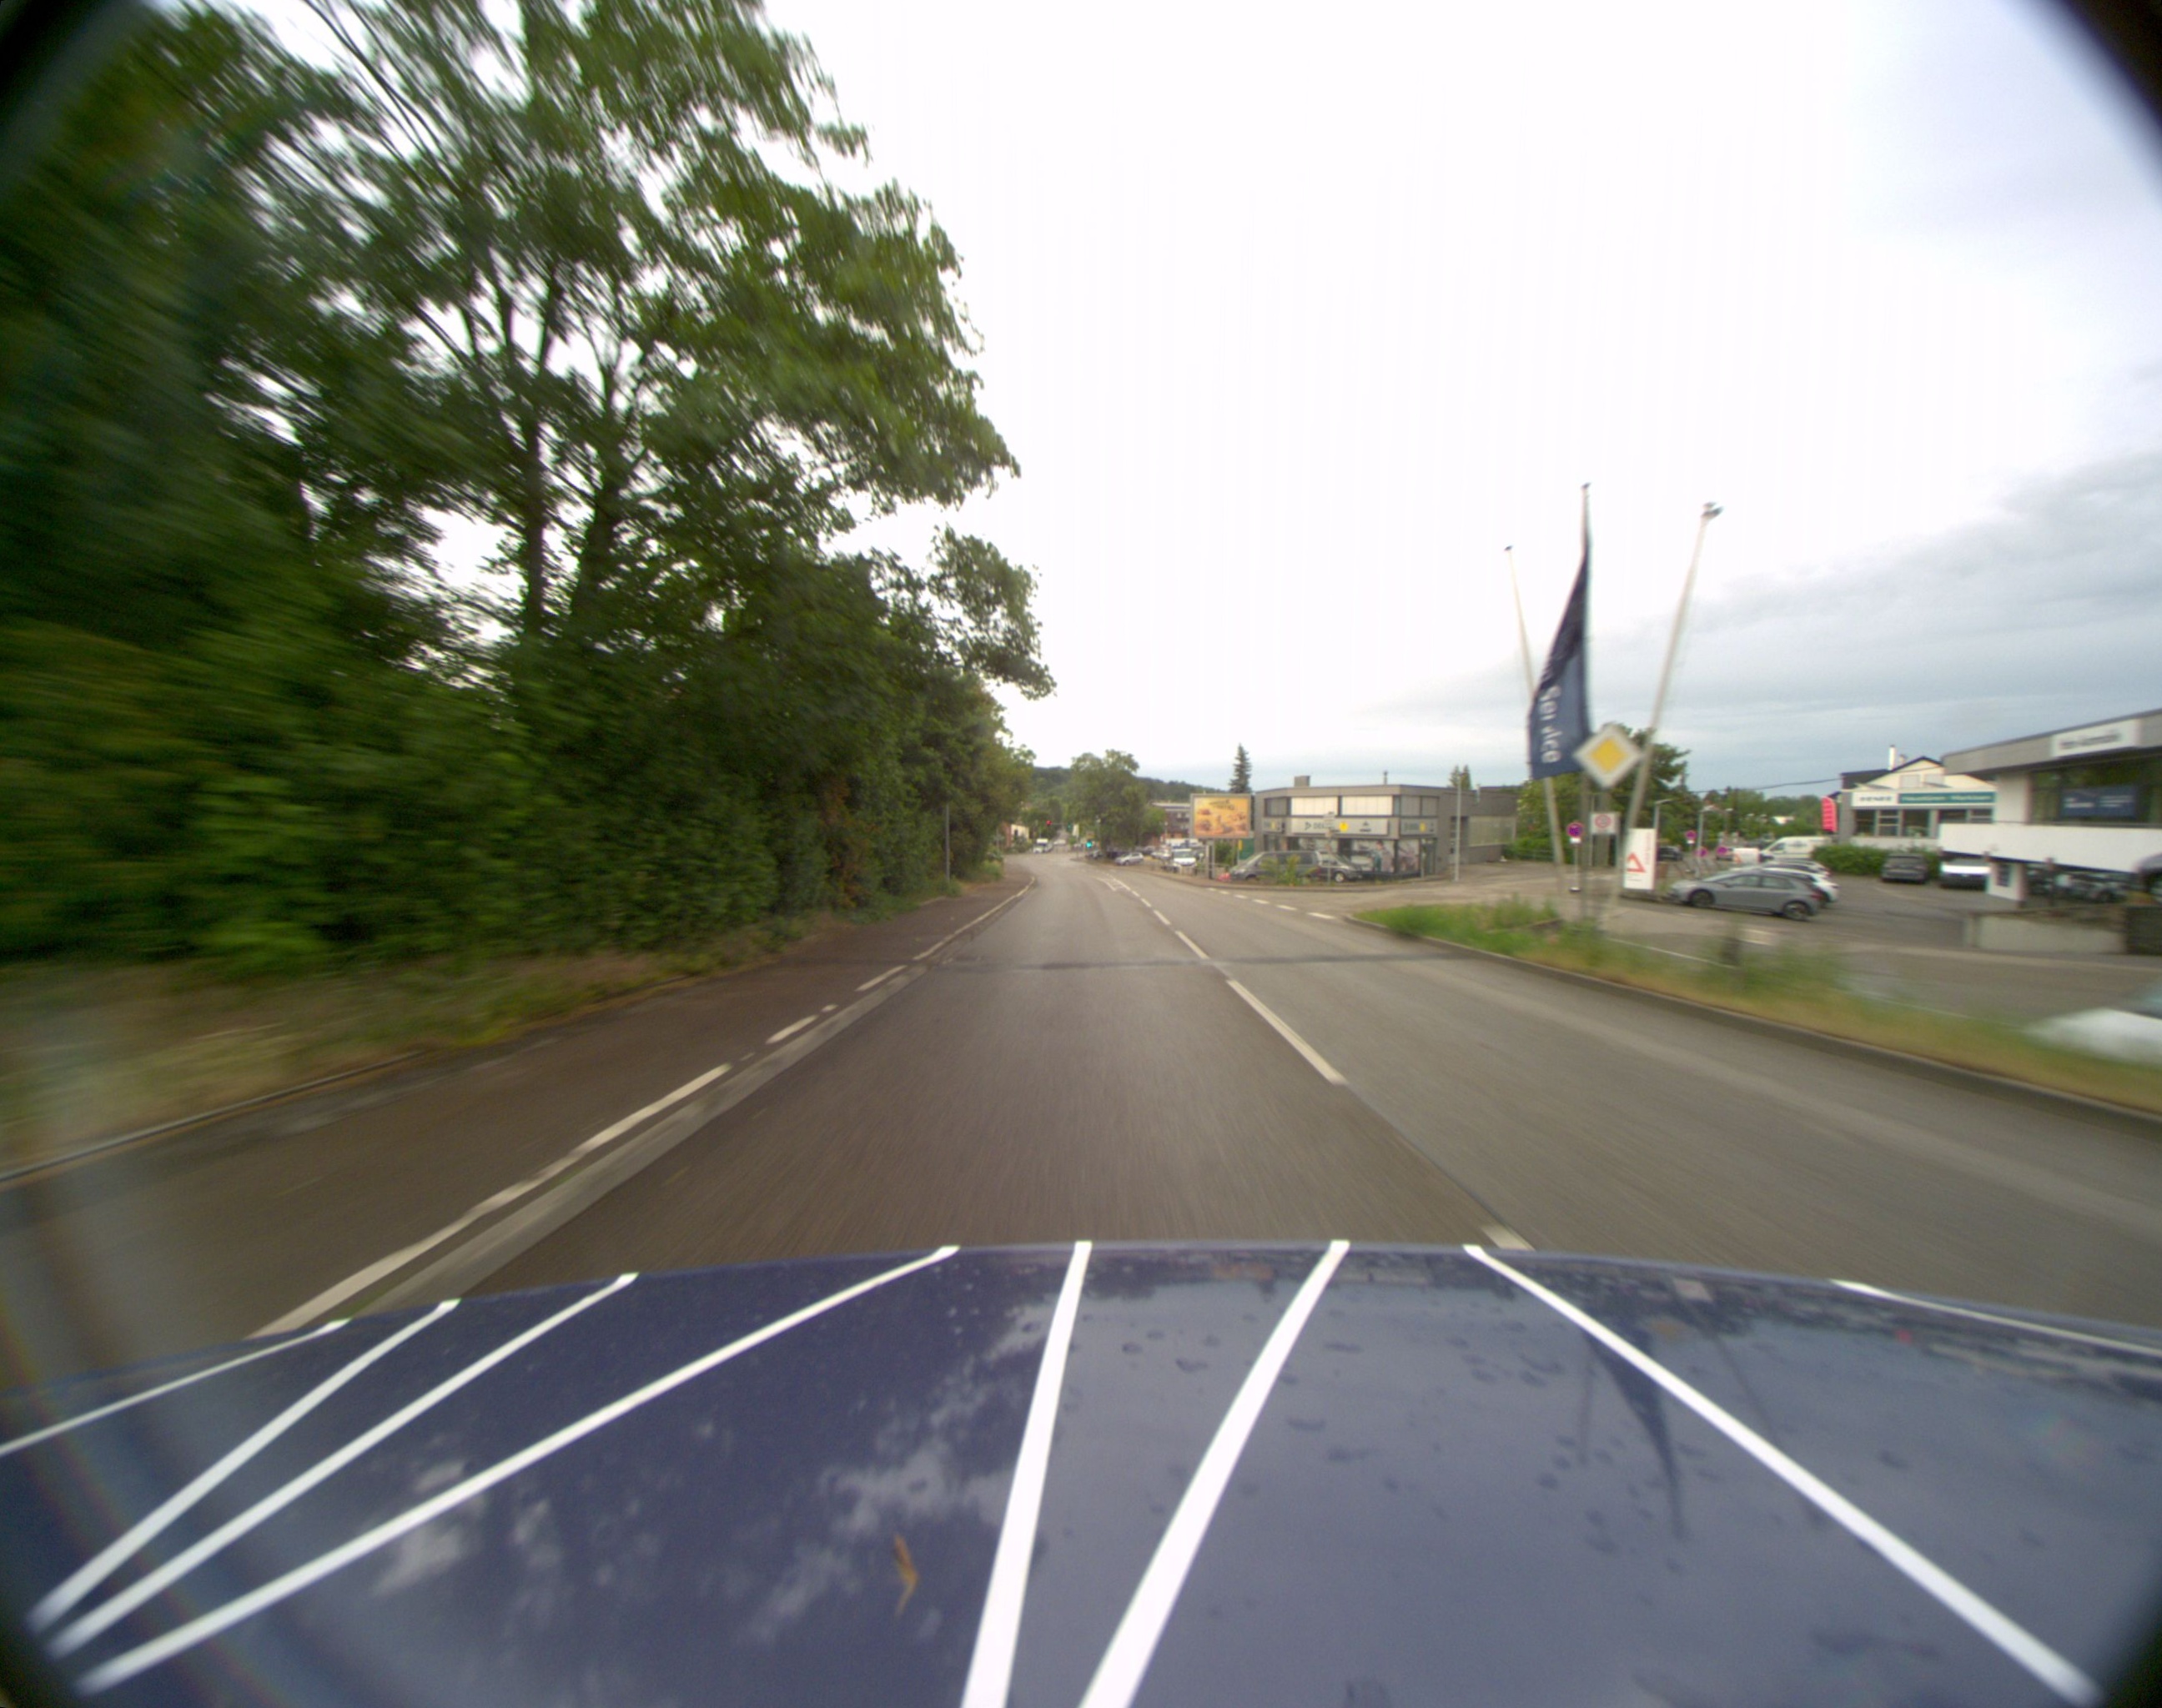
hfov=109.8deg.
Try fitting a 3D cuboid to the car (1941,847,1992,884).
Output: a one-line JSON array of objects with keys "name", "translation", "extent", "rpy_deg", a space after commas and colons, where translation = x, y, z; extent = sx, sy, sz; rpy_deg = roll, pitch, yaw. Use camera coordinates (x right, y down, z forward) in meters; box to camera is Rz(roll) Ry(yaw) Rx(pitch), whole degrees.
[{"name": "car", "translation": [55.850, 0.645, 47.995], "extent": [5.889, 2.002, 1.994], "rpy_deg": [-3, 3, -42]}]

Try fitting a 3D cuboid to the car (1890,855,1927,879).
[{"name": "car", "translation": [54.462, 0.823, 50.031], "extent": [3.069, 1.482, 1.530], "rpy_deg": [0, 1, -45]}]

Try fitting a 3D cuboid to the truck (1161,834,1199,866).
[{"name": "truck", "translation": [8.687, -0.394, 67.625], "extent": [1.999, 2.618, 7.889], "rpy_deg": [1, 1, -3]}]

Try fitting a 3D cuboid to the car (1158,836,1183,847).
[{"name": "car", "translation": [18.578, -2.545, 157.296], "extent": [5.266, 2.075, 2.047], "rpy_deg": [0, 2, -40]}]

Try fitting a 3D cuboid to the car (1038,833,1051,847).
[{"name": "car", "translation": [-8.227, -3.113, 172.157], "extent": [2.575, 2.759, 6.122], "rpy_deg": [1, 4, -2]}]

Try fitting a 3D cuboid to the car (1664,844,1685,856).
[{"name": "car", "translation": [59.074, -0.423, 75.607], "extent": [1.377, 1.181, 3.069], "rpy_deg": [1, 1, 43]}]

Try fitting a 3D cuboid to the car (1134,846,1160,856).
[{"name": "car", "translation": [10.668, -0.484, 122.814], "extent": [1.794, 1.444, 4.031], "rpy_deg": [-1, 3, -41]}]

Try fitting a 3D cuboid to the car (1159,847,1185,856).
[{"name": "car", "translation": [14.607, -0.428, 122.454], "extent": [1.794, 1.444, 4.031], "rpy_deg": [-1, 3, -41]}]

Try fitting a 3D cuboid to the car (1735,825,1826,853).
[{"name": "car", "translation": [62.459, -1.304, 67.945], "extent": [2.151, 2.356, 5.861], "rpy_deg": [-4, 3, -44]}]

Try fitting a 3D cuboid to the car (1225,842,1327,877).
[{"name": "car", "translation": [10.623, 0.294, 41.573], "extent": [5.083, 1.860, 1.821], "rpy_deg": [0, 1, -8]}]

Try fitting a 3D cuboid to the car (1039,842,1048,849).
[{"name": "car", "translation": [-7.727, -1.712, 155.311], "extent": [1.770, 1.460, 3.997], "rpy_deg": [0, 2, -5]}]

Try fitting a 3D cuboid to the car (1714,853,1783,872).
[{"name": "car", "translation": [42.767, 0.522, 48.720], "extent": [3.055, 1.181, 1.384], "rpy_deg": [0, 1, 26]}]

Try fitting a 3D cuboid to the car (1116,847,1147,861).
[{"name": "car", "translation": [6.614, -0.006, 99.465], "extent": [4.015, 1.561, 1.716], "rpy_deg": [-3, 3, -38]}]

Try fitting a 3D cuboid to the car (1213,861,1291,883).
[{"name": "car", "translation": [10.041, 1.050, 44.806], "extent": [4.106, 1.260, 1.767], "rpy_deg": [0, 1, -12]}]

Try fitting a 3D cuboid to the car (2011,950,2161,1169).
[{"name": "car", "translation": [9.811, 1.547, 5.463], "extent": [4.019, 1.469, 1.823], "rpy_deg": [0, 1, -1]}]

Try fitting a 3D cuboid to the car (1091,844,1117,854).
[{"name": "car", "translation": [3.496, -0.782, 115.935], "extent": [3.768, 1.559, 1.671], "rpy_deg": [0, 2, -3]}]

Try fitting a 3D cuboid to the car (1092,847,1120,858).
[{"name": "car", "translation": [3.706, -0.276, 113.155], "extent": [3.896, 1.559, 1.671], "rpy_deg": [0, 2, -6]}]

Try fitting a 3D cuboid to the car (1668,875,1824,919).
[{"name": "car", "translation": [25.125, 1.580, 28.894], "extent": [4.095, 1.419, 1.893], "rpy_deg": [0, 1, 26]}]

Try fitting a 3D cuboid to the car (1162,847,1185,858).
[{"name": "car", "translation": [13.902, -0.213, 113.581], "extent": [1.785, 1.501, 4.051], "rpy_deg": [2, 2, 33]}]

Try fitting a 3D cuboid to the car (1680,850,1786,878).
[{"name": "car", "translation": [34.955, 0.505, 40.885], "extent": [3.980, 1.419, 1.847], "rpy_deg": [0, 1, 26]}]

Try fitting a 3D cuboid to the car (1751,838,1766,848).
[{"name": "car", "translation": [86.726, -1.408, 97.265], "extent": [1.377, 1.181, 3.069], "rpy_deg": [1, 1, 43]}]

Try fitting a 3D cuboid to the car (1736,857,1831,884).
[{"name": "car", "translation": [39.026, 0.873, 42.309], "extent": [3.583, 1.419, 1.586], "rpy_deg": [0, 1, 26]}]

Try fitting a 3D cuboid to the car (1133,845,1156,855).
[{"name": "car", "translation": [10.892, -0.665, 131.084], "extent": [3.763, 1.542, 1.596], "rpy_deg": [2, 3, 40]}]

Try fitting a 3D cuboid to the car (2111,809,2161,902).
[{"name": "car", "translation": [21.334, 0.057, 13.112], "extent": [1.402, 1.790, 4.251], "rpy_deg": [1, 1, 3]}]

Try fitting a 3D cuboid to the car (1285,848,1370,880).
[{"name": "car", "translation": [16.036, 0.671, 49.670], "extent": [2.004, 1.976, 4.863], "rpy_deg": [-2, 1, -44]}]

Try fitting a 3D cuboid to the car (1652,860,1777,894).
[{"name": "car", "translation": [28.382, 0.999, 34.203], "extent": [3.980, 1.419, 1.783], "rpy_deg": [0, 1, 26]}]

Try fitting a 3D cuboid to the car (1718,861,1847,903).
[{"name": "car", "translation": [32.060, 1.258, 34.884], "extent": [3.980, 1.778, 1.824], "rpy_deg": [0, 1, 26]}]

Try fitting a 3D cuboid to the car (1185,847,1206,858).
[{"name": "car", "translation": [16.840, -0.236, 111.681], "extent": [1.824, 1.407, 4.017], "rpy_deg": [2, 2, 29]}]

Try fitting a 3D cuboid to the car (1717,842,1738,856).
[{"name": "car", "translation": [67.481, -0.491, 79.248], "extent": [1.506, 1.451, 3.443], "rpy_deg": [1, 1, 43]}]

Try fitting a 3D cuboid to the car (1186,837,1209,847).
[{"name": "car", "translation": [24.881, -2.564, 162.141], "extent": [4.932, 1.853, 2.047], "rpy_deg": [0, 2, -40]}]
